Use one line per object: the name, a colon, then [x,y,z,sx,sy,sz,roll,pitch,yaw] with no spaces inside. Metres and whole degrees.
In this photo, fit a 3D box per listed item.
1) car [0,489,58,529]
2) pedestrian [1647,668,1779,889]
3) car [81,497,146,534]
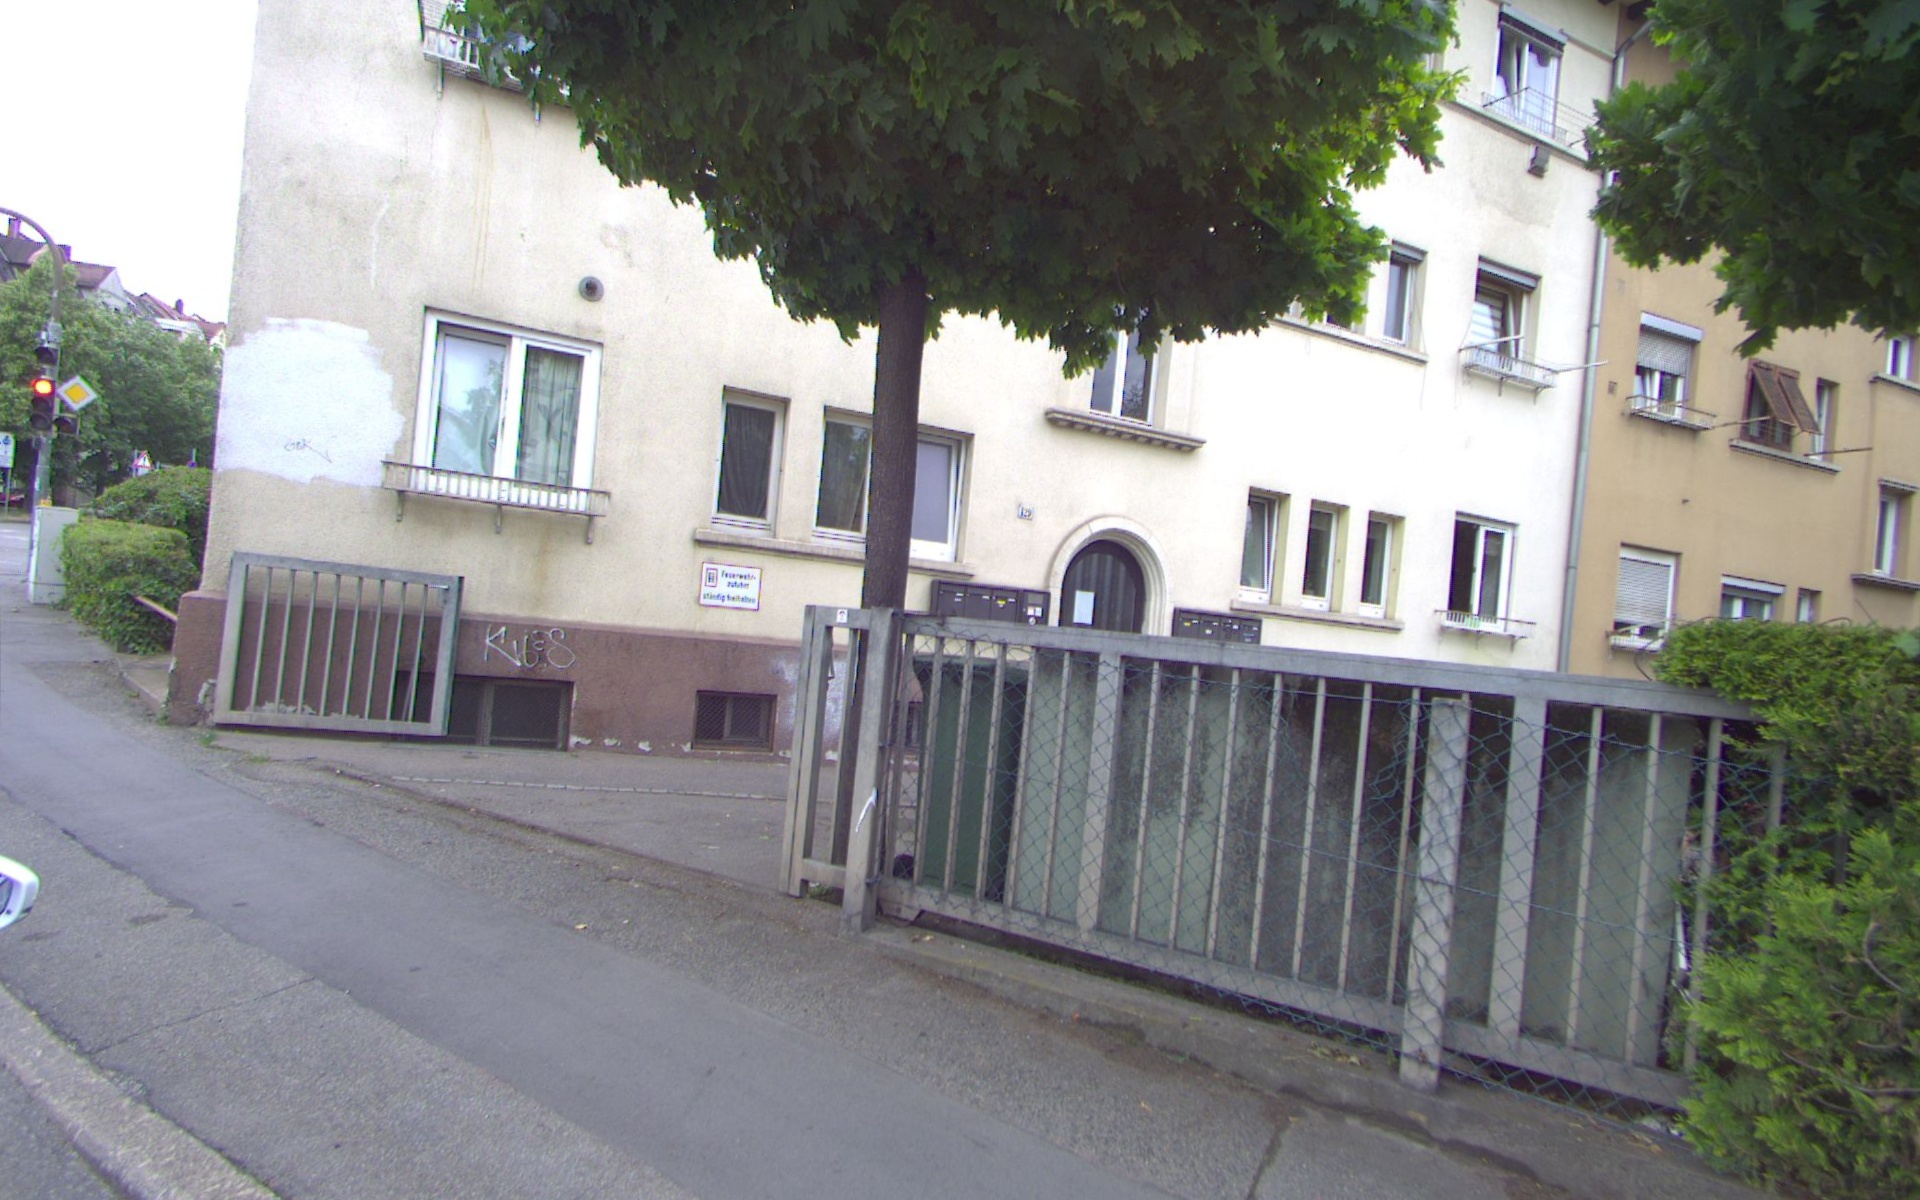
car: [-60.928,-5.926,65.132,1.970,2.036,3.991,9,-3,-14]
pedestrian: [6.489,1.505,8.702,0.684,1.760,0.466,7,1,30]
car: [-63.537,-6.322,75.614,1.970,2.036,3.991,9,-3,-14]
